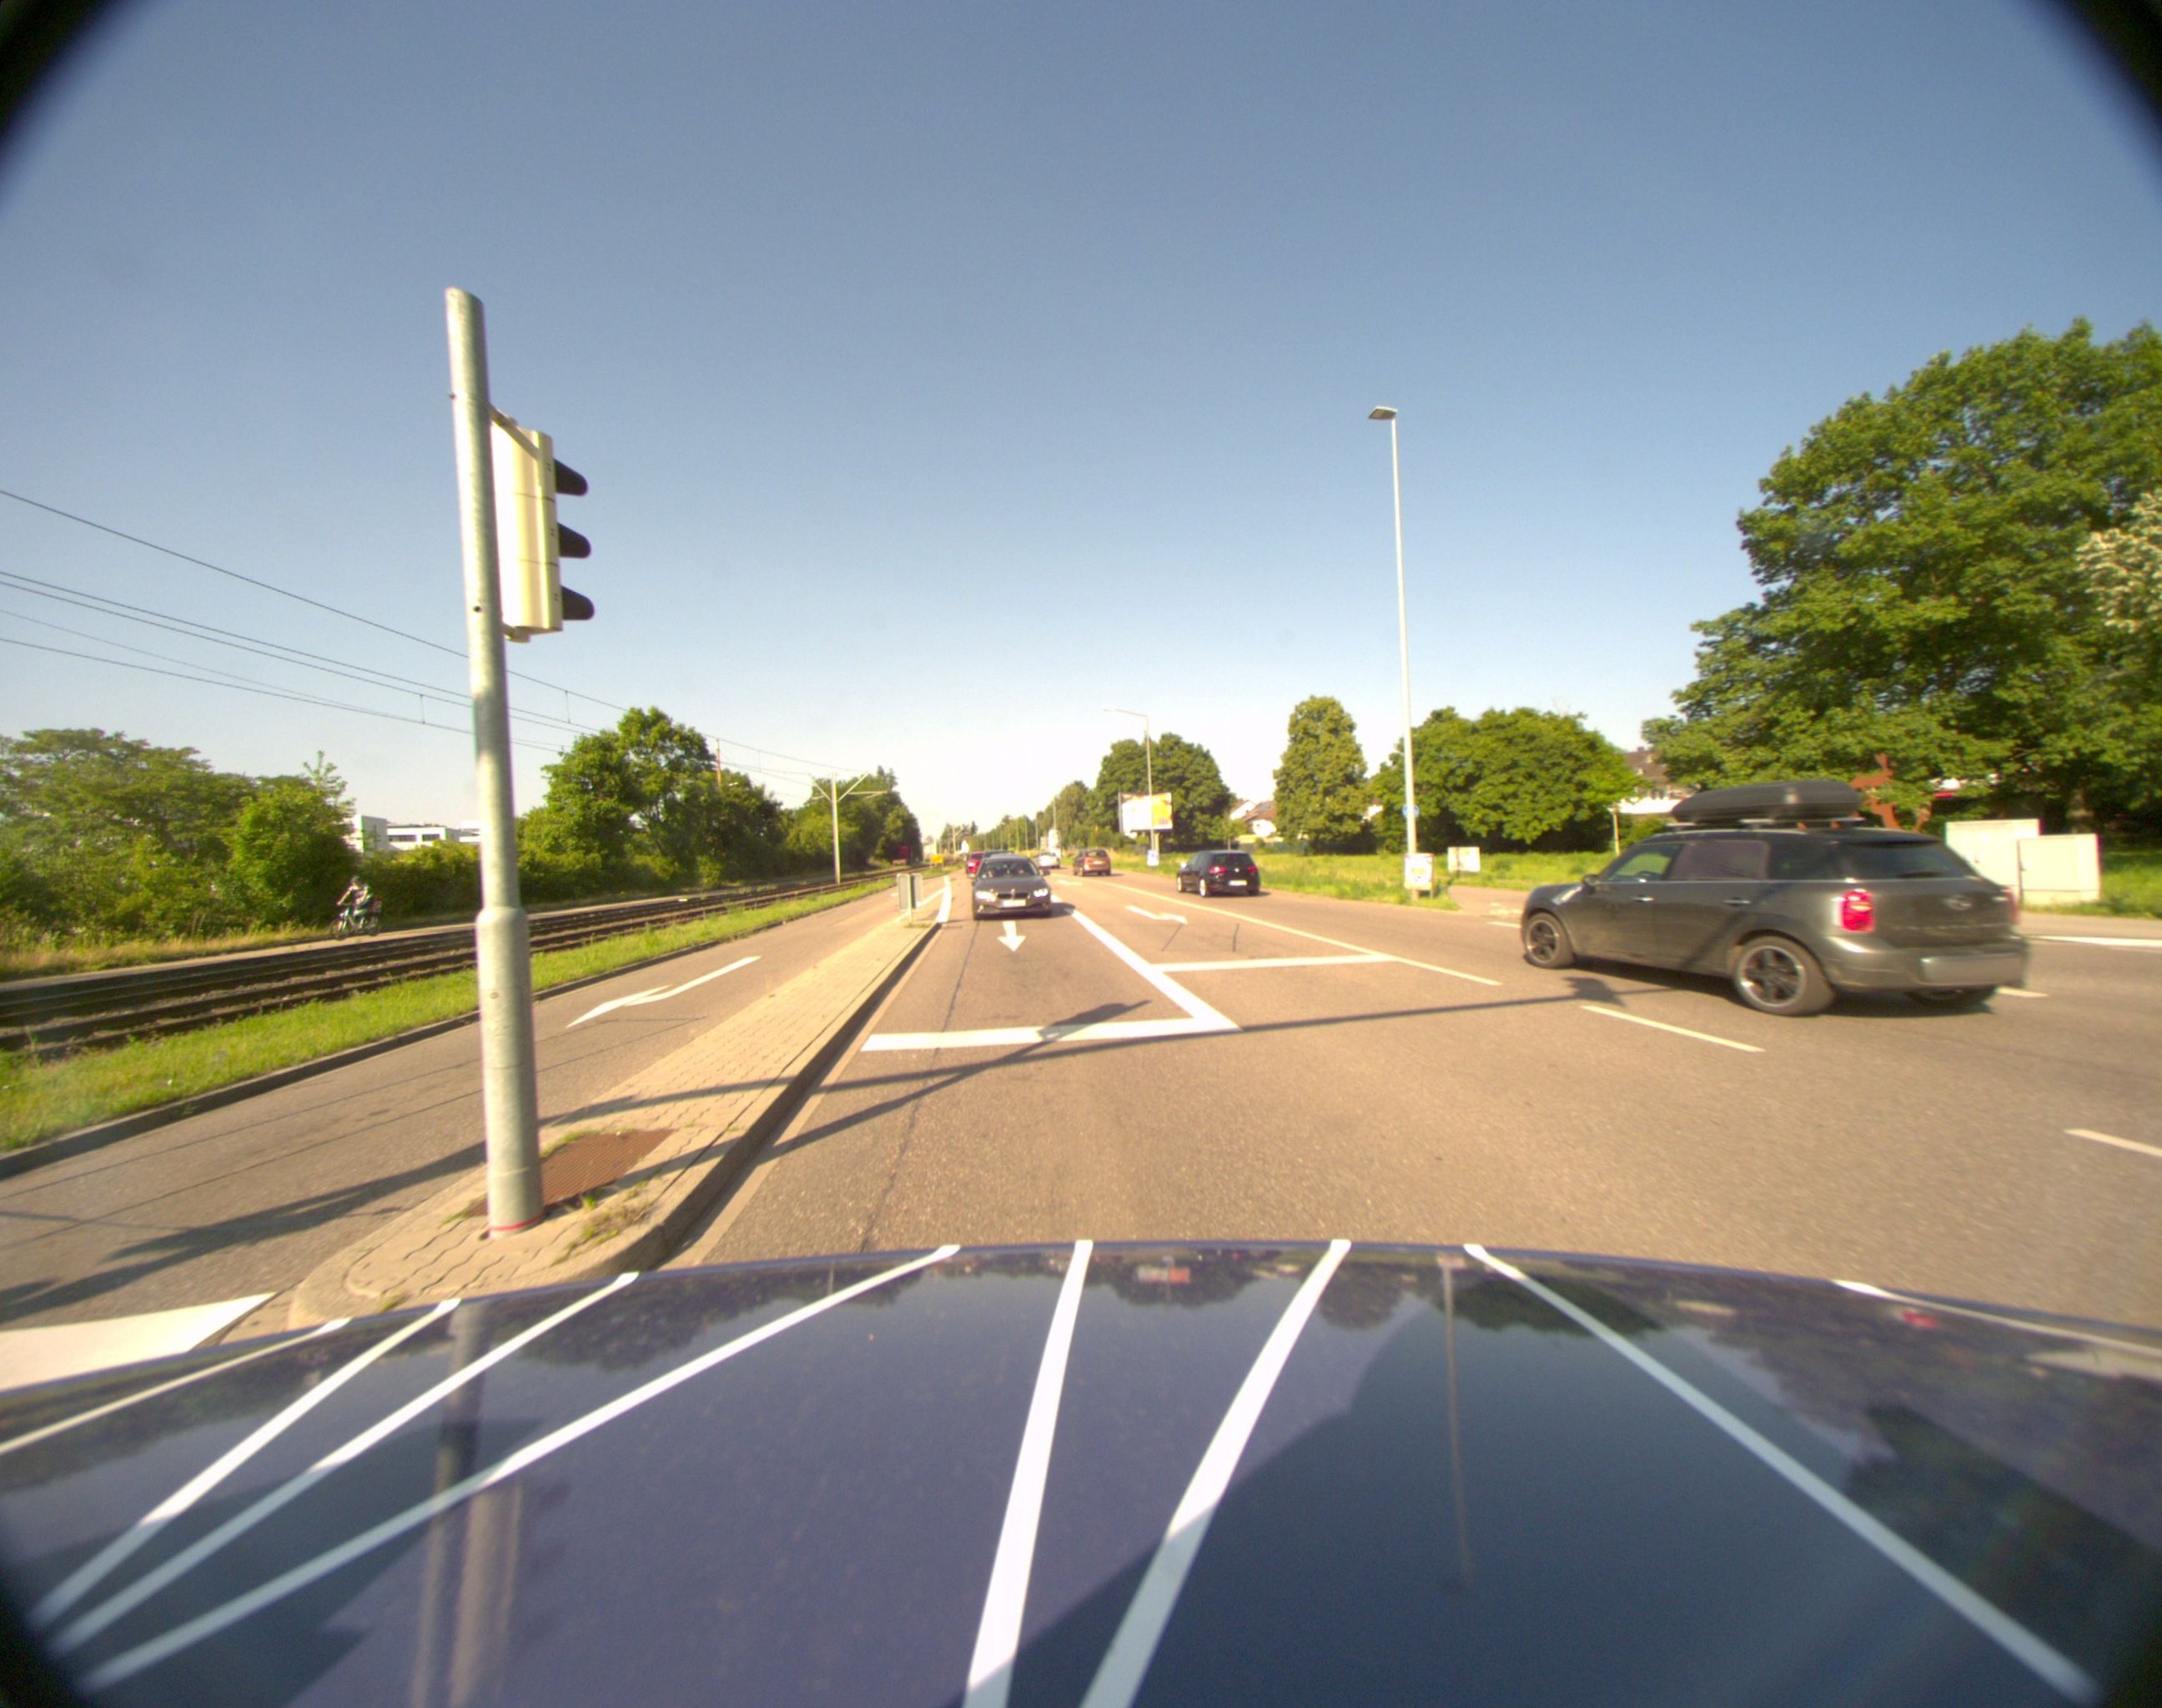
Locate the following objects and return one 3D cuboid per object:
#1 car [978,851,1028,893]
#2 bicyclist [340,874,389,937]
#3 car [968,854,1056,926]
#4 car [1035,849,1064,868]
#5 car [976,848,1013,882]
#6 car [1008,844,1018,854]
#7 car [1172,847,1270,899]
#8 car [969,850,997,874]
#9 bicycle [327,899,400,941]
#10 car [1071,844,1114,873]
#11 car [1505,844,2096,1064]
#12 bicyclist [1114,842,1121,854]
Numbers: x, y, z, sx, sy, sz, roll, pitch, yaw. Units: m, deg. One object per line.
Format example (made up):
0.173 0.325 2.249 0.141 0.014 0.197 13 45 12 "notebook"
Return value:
-3.245 0.681 31.042 1.822 1.481 4.607 -2 1 -7 "car"
-21.528 1.530 22.846 0.708 1.797 0.717 -2 1 -7 "bicyclist"
-1.775 0.783 18.827 1.822 1.416 4.458 -4 1 -7 "car"
-2.619 0.322 62.419 1.708 1.457 4.364 -3 1 -11 "car"
-4.809 0.562 41.840 1.822 1.641 4.607 -4 1 -7 "car"
-12.472 -0.964 139.797 1.638 1.550 3.675 -2 -2 -8 "car"
4.375 0.527 24.354 1.894 1.465 4.096 -2 1 -7 "car"
-6.848 0.543 53.244 1.808 1.498 4.193 -2 1 -7 "car"
-21.489 1.950 22.805 0.547 1.041 1.872 -2 1 -7 "bicycle"
0.627 0.226 44.196 1.751 1.553 3.995 -1 1 -11 "car"
6.335 0.686 7.460 1.794 1.511 3.997 -2 1 -6 "car"
4.290 -0.738 89.577 0.639 1.420 1.071 -2 1 -8 "bicyclist"
